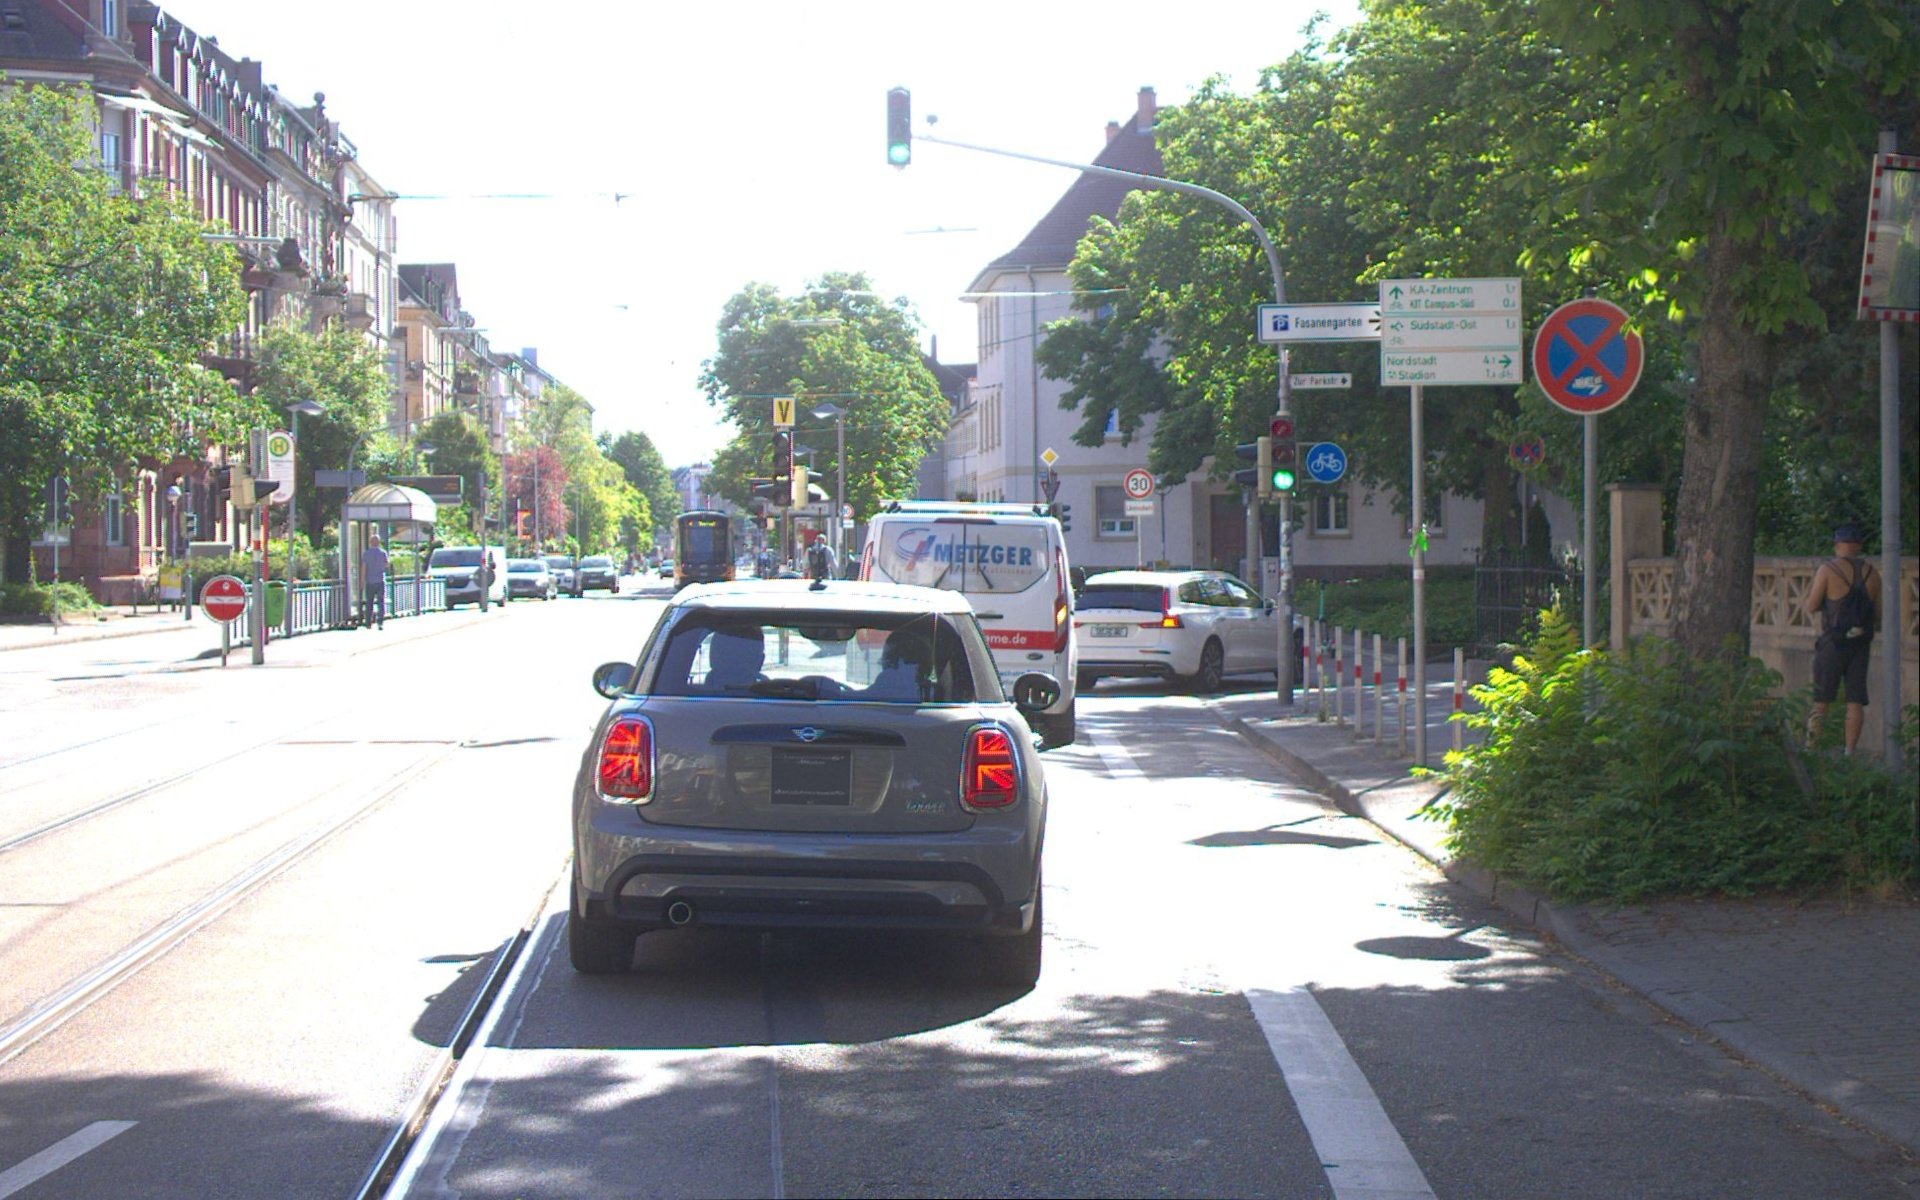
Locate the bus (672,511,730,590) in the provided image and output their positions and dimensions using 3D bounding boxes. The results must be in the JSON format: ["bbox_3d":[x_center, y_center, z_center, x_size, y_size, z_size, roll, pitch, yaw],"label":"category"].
[{"bbox_3d":[-11.739,-2.197,155.447,2.385,3.484,7.385,1,0,-6],"label":"bus"}]

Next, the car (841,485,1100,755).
[{"bbox_3d":[0.017,0.160,30.944,2.118,2.201,4.945,1,0,-2],"label":"car"}]

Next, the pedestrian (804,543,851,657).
[{"bbox_3d":[-2.356,-0.003,61.008,0.795,2.007,0.740,1,0,-3],"label":"pedestrian"}]

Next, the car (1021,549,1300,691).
[{"bbox_3d":[2.493,0.236,41.740,1.996,1.612,3.994,1,0,26],"label":"car"}]

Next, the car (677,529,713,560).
[{"bbox_3d":[-13.996,-2.916,181.360,1.863,1.558,4.001,1,0,-5],"label":"car"}]

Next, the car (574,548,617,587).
[{"bbox_3d":[-15.699,-1.397,148.228,1.775,1.612,4.001,1,0,-5],"label":"car"}]

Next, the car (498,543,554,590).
[{"bbox_3d":[-15.386,-1.179,121.999,1.775,1.612,4.001,1,0,-5],"label":"car"}]

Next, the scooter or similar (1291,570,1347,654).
[{"bbox_3d":[5.658,0.183,54.268,0.676,1.306,1.329,1,0,-2],"label":"scooter or similar"}]

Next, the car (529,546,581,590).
[{"bbox_3d":[-15.302,-1.208,130.025,1.775,1.612,4.001,1,0,-5],"label":"car"}]

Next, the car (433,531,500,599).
[{"bbox_3d":[-15.309,-1.066,106.531,1.993,2.007,5.030,1,0,-8],"label":"car"}]

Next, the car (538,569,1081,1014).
[{"bbox_3d":[-0.564,0.645,13.637,1.815,1.483,4.000,1,0,-2],"label":"car"}]

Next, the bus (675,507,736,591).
[{"bbox_3d":[-10.982,-2.155,148.032,2.385,3.484,7.385,1,0,-6],"label":"bus"}]

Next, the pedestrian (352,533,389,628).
[{"bbox_3d":[-11.269,-0.379,65.721,0.577,1.789,0.608,-1,1,-19],"label":"pedestrian"}]

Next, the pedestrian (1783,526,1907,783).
[{"bbox_3d":[5.870,0.355,22.818,0.592,1.665,0.647,-2,0,-2],"label":"pedestrian"}]
